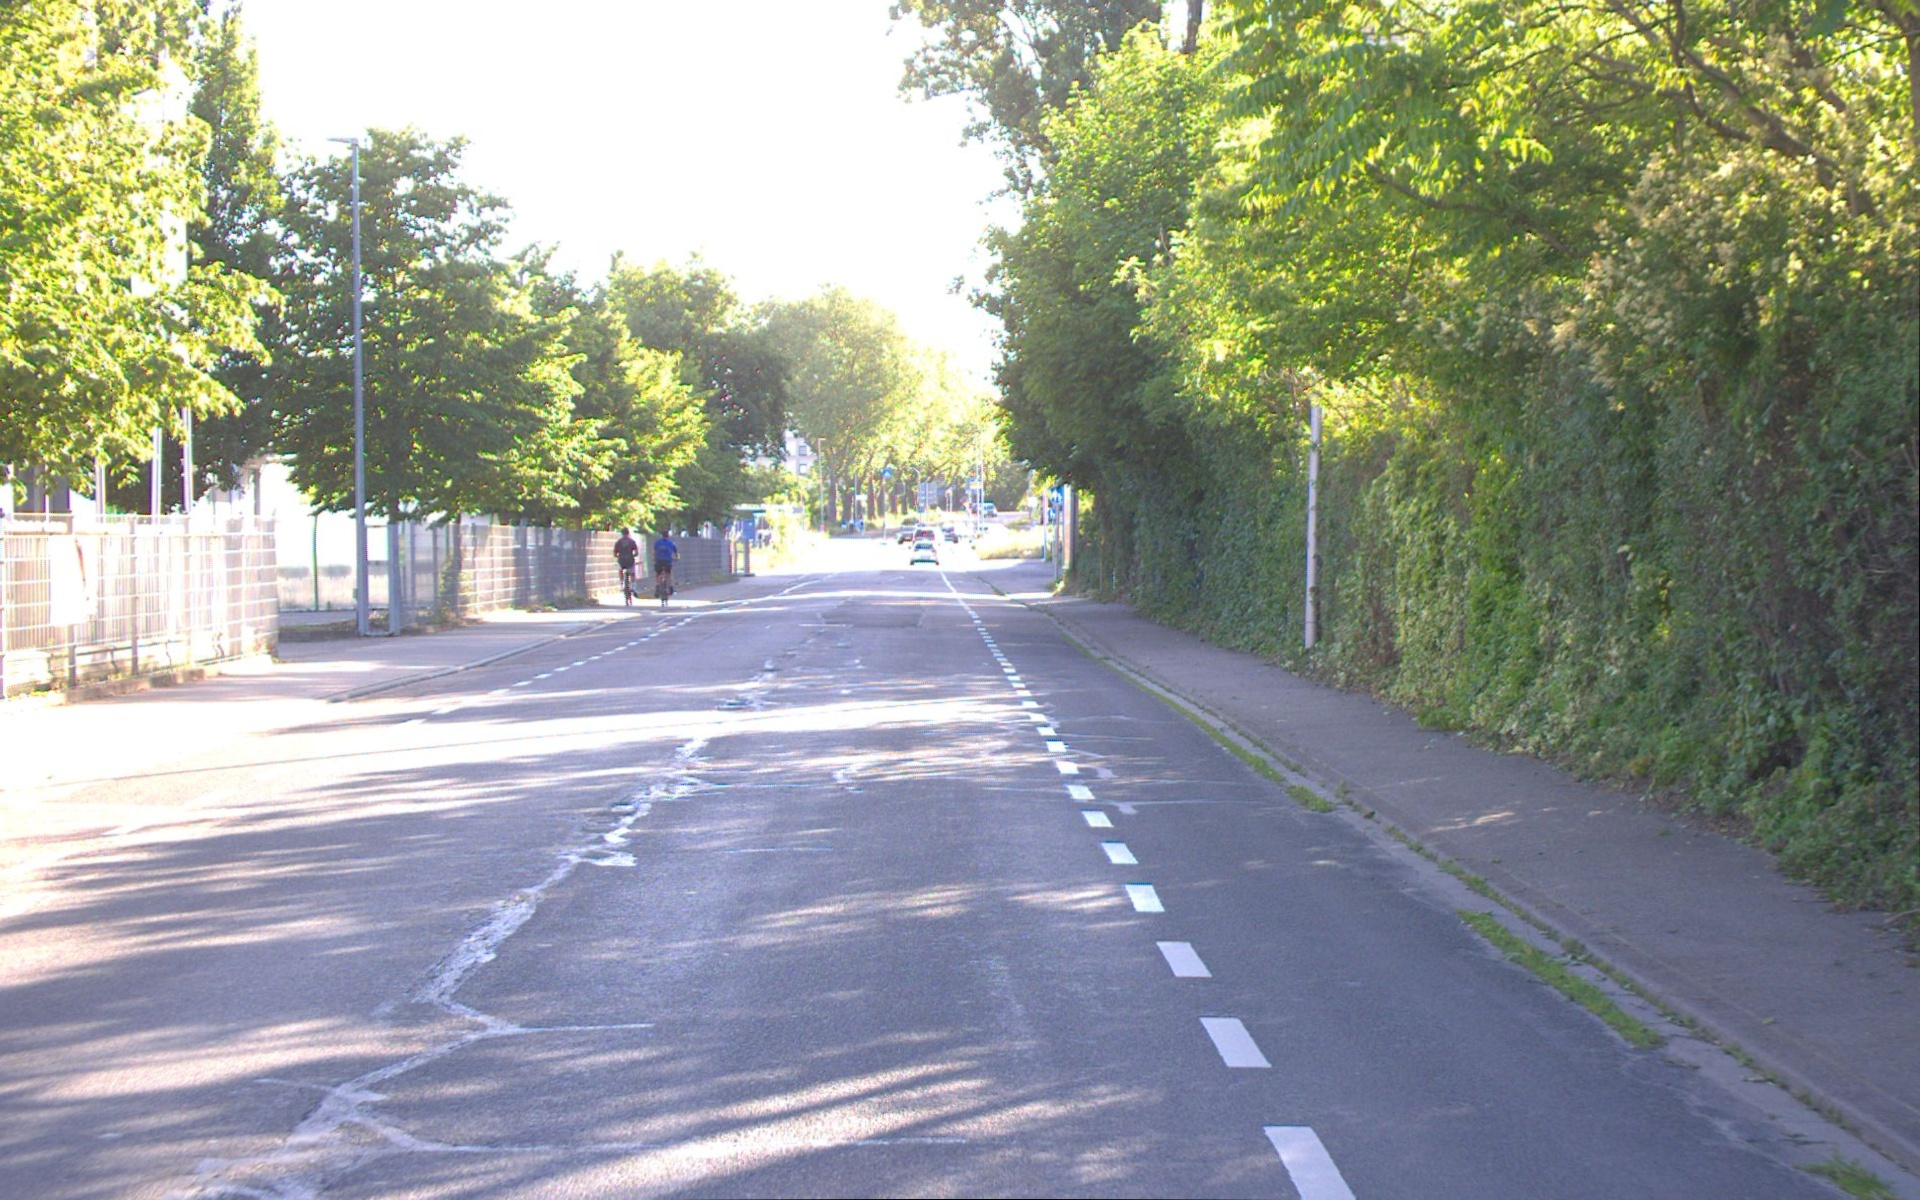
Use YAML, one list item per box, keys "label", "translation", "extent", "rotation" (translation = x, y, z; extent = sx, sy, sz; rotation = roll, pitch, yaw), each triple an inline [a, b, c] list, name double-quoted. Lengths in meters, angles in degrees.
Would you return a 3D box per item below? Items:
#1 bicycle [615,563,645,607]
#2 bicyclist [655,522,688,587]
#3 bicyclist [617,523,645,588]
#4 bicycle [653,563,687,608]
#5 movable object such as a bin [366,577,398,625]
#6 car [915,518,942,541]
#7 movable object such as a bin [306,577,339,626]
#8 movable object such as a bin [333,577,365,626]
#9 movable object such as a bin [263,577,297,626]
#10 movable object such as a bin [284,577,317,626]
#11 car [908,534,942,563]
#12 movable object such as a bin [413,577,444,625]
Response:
- label: "bicycle"
  translation: [-7.923, -0.361, 82.563]
  extent: [0.563, 1.030, 1.351]
  rotation: [2, 1, -1]
- label: "bicyclist"
  translation: [-6.884, -1.086, 81.938]
  extent: [0.689, 1.527, 0.722]
  rotation: [2, 1, -1]
- label: "bicyclist"
  translation: [-7.896, -1.074, 82.476]
  extent: [0.560, 1.528, 0.689]
  rotation: [2, 1, -1]
- label: "bicycle"
  translation: [-6.904, -0.347, 81.984]
  extent: [0.689, 1.030, 1.351]
  rotation: [2, 1, -1]
- label: "movable object such as a bin"
  translation: [-13.003, 0.019, 77.380]
  extent: [0.463, 1.072, 1.570]
  rotation: [0, 1, -1]
- label: "car"
  translation: [-2.313, -5.200, 253.760]
  extent: [1.942, 1.645, 4.310]
  rotation: [2, 1, -1]
- label: "movable object such as a bin"
  translation: [-14.313, 0.026, 77.237]
  extent: [0.463, 1.072, 1.570]
  rotation: [0, 1, -1]
- label: "movable object such as a bin"
  translation: [-13.740, 0.023, 77.301]
  extent: [0.463, 1.072, 1.570]
  rotation: [0, 1, -1]
- label: "movable object such as a bin"
  translation: [-15.319, 0.033, 77.436]
  extent: [0.463, 1.072, 1.570]
  rotation: [0, 1, -1]
- label: "movable object such as a bin"
  translation: [-14.826, 0.030, 77.333]
  extent: [0.463, 1.072, 1.570]
  rotation: [0, 1, -1]
- label: "car"
  translation: [-2.099, -3.095, 206.831]
  extent: [1.942, 1.645, 4.310]
  rotation: [2, 1, -1]
- label: "movable object such as a bin"
  translation: [-11.943, 0.013, 77.270]
  extent: [0.463, 1.072, 1.570]
  rotation: [0, 1, -1]
